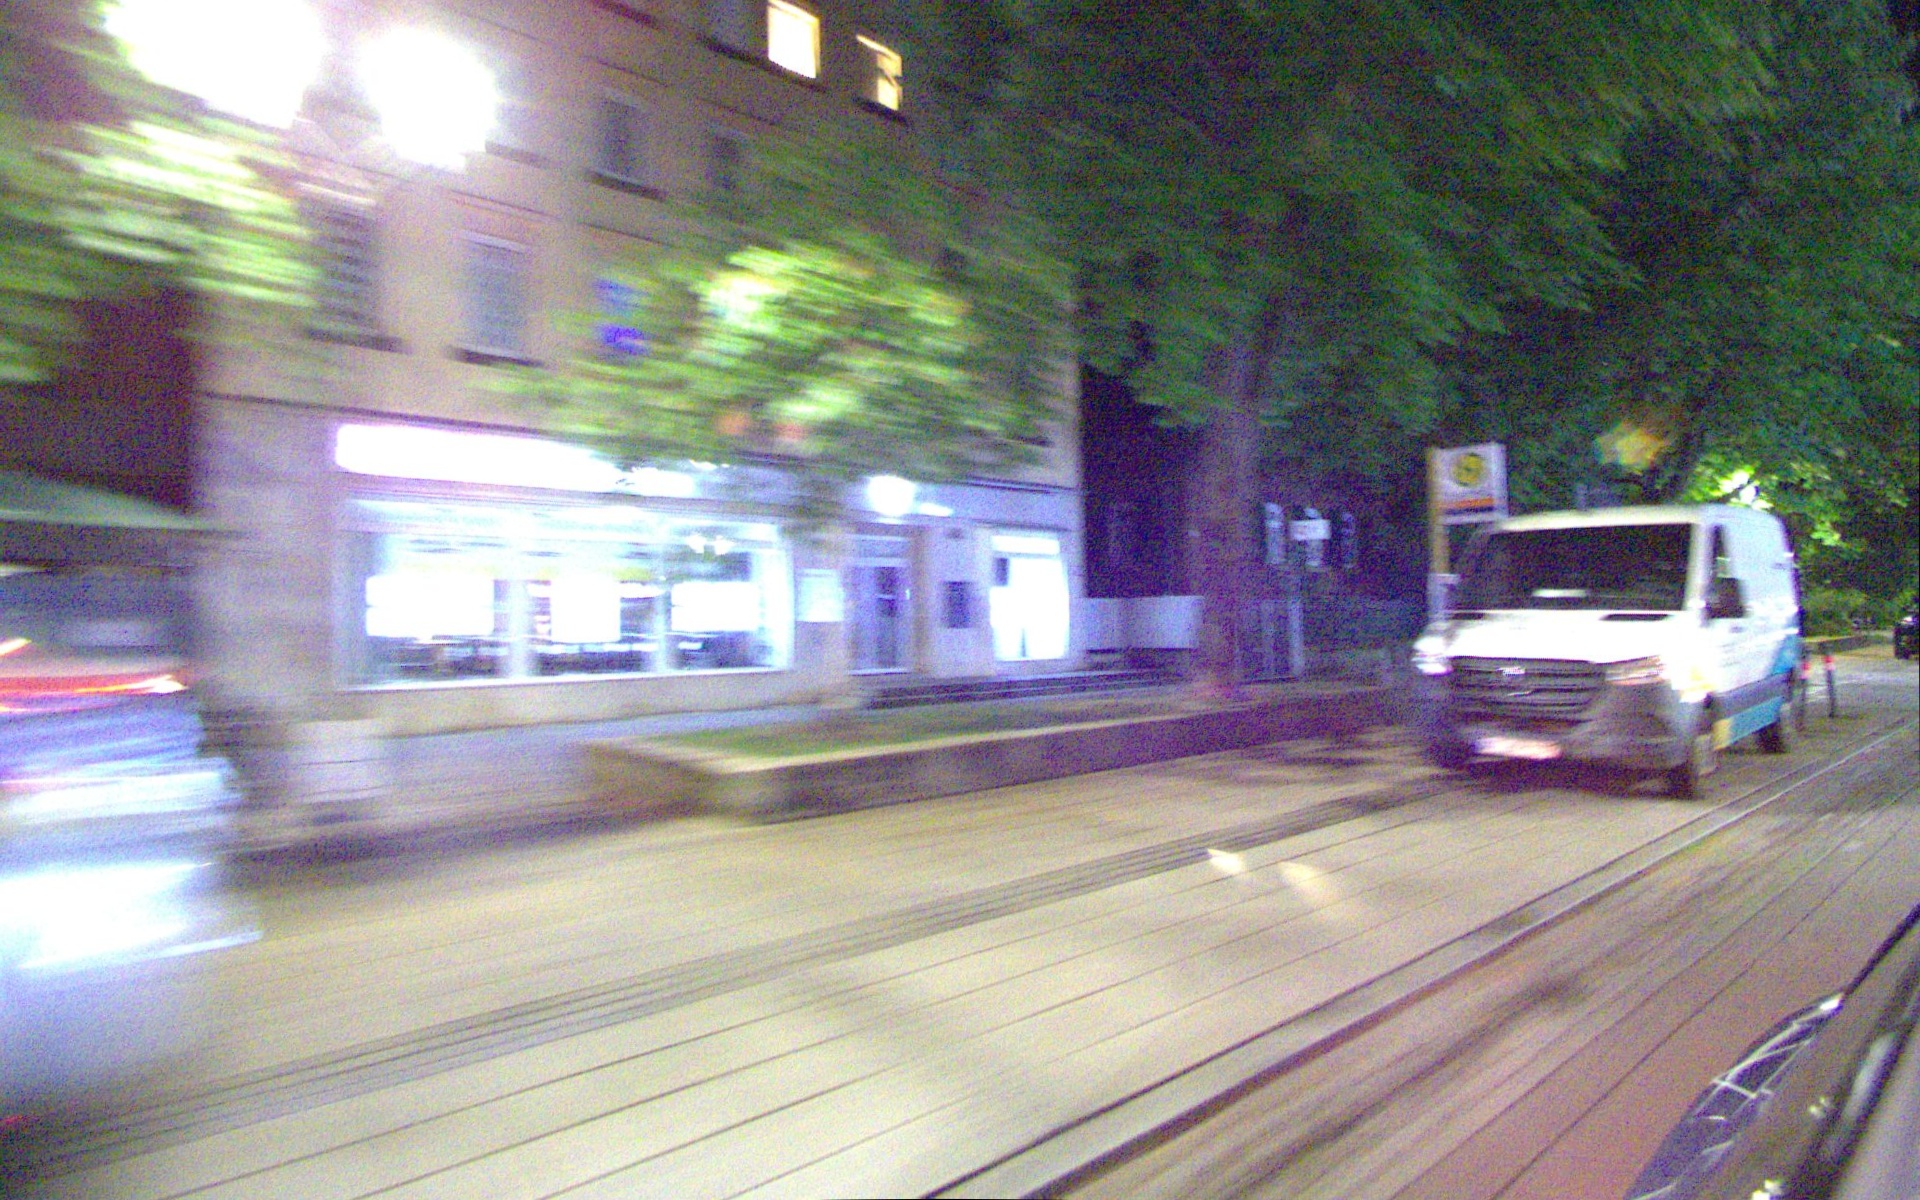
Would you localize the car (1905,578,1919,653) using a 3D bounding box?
[{"bbox_3d":[25.656,0.345,25.683,4.850,1.826,1.910,0,-1,-41],"label":"car"}]

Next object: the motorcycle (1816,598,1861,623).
[{"bbox_3d":[45.129,0.545,52.005,1.719,1.267,0.426,-2,-2,43],"label":"motorcycle"}]

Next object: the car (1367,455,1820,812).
[{"bbox_3d":[5.949,0.227,9.194,5.063,2.356,2.137,0,-1,-42],"label":"car"}]

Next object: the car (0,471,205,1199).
[{"bbox_3d":[-3.561,0.640,1.151,4.223,1.680,1.686,0,-1,-42],"label":"car"}]
